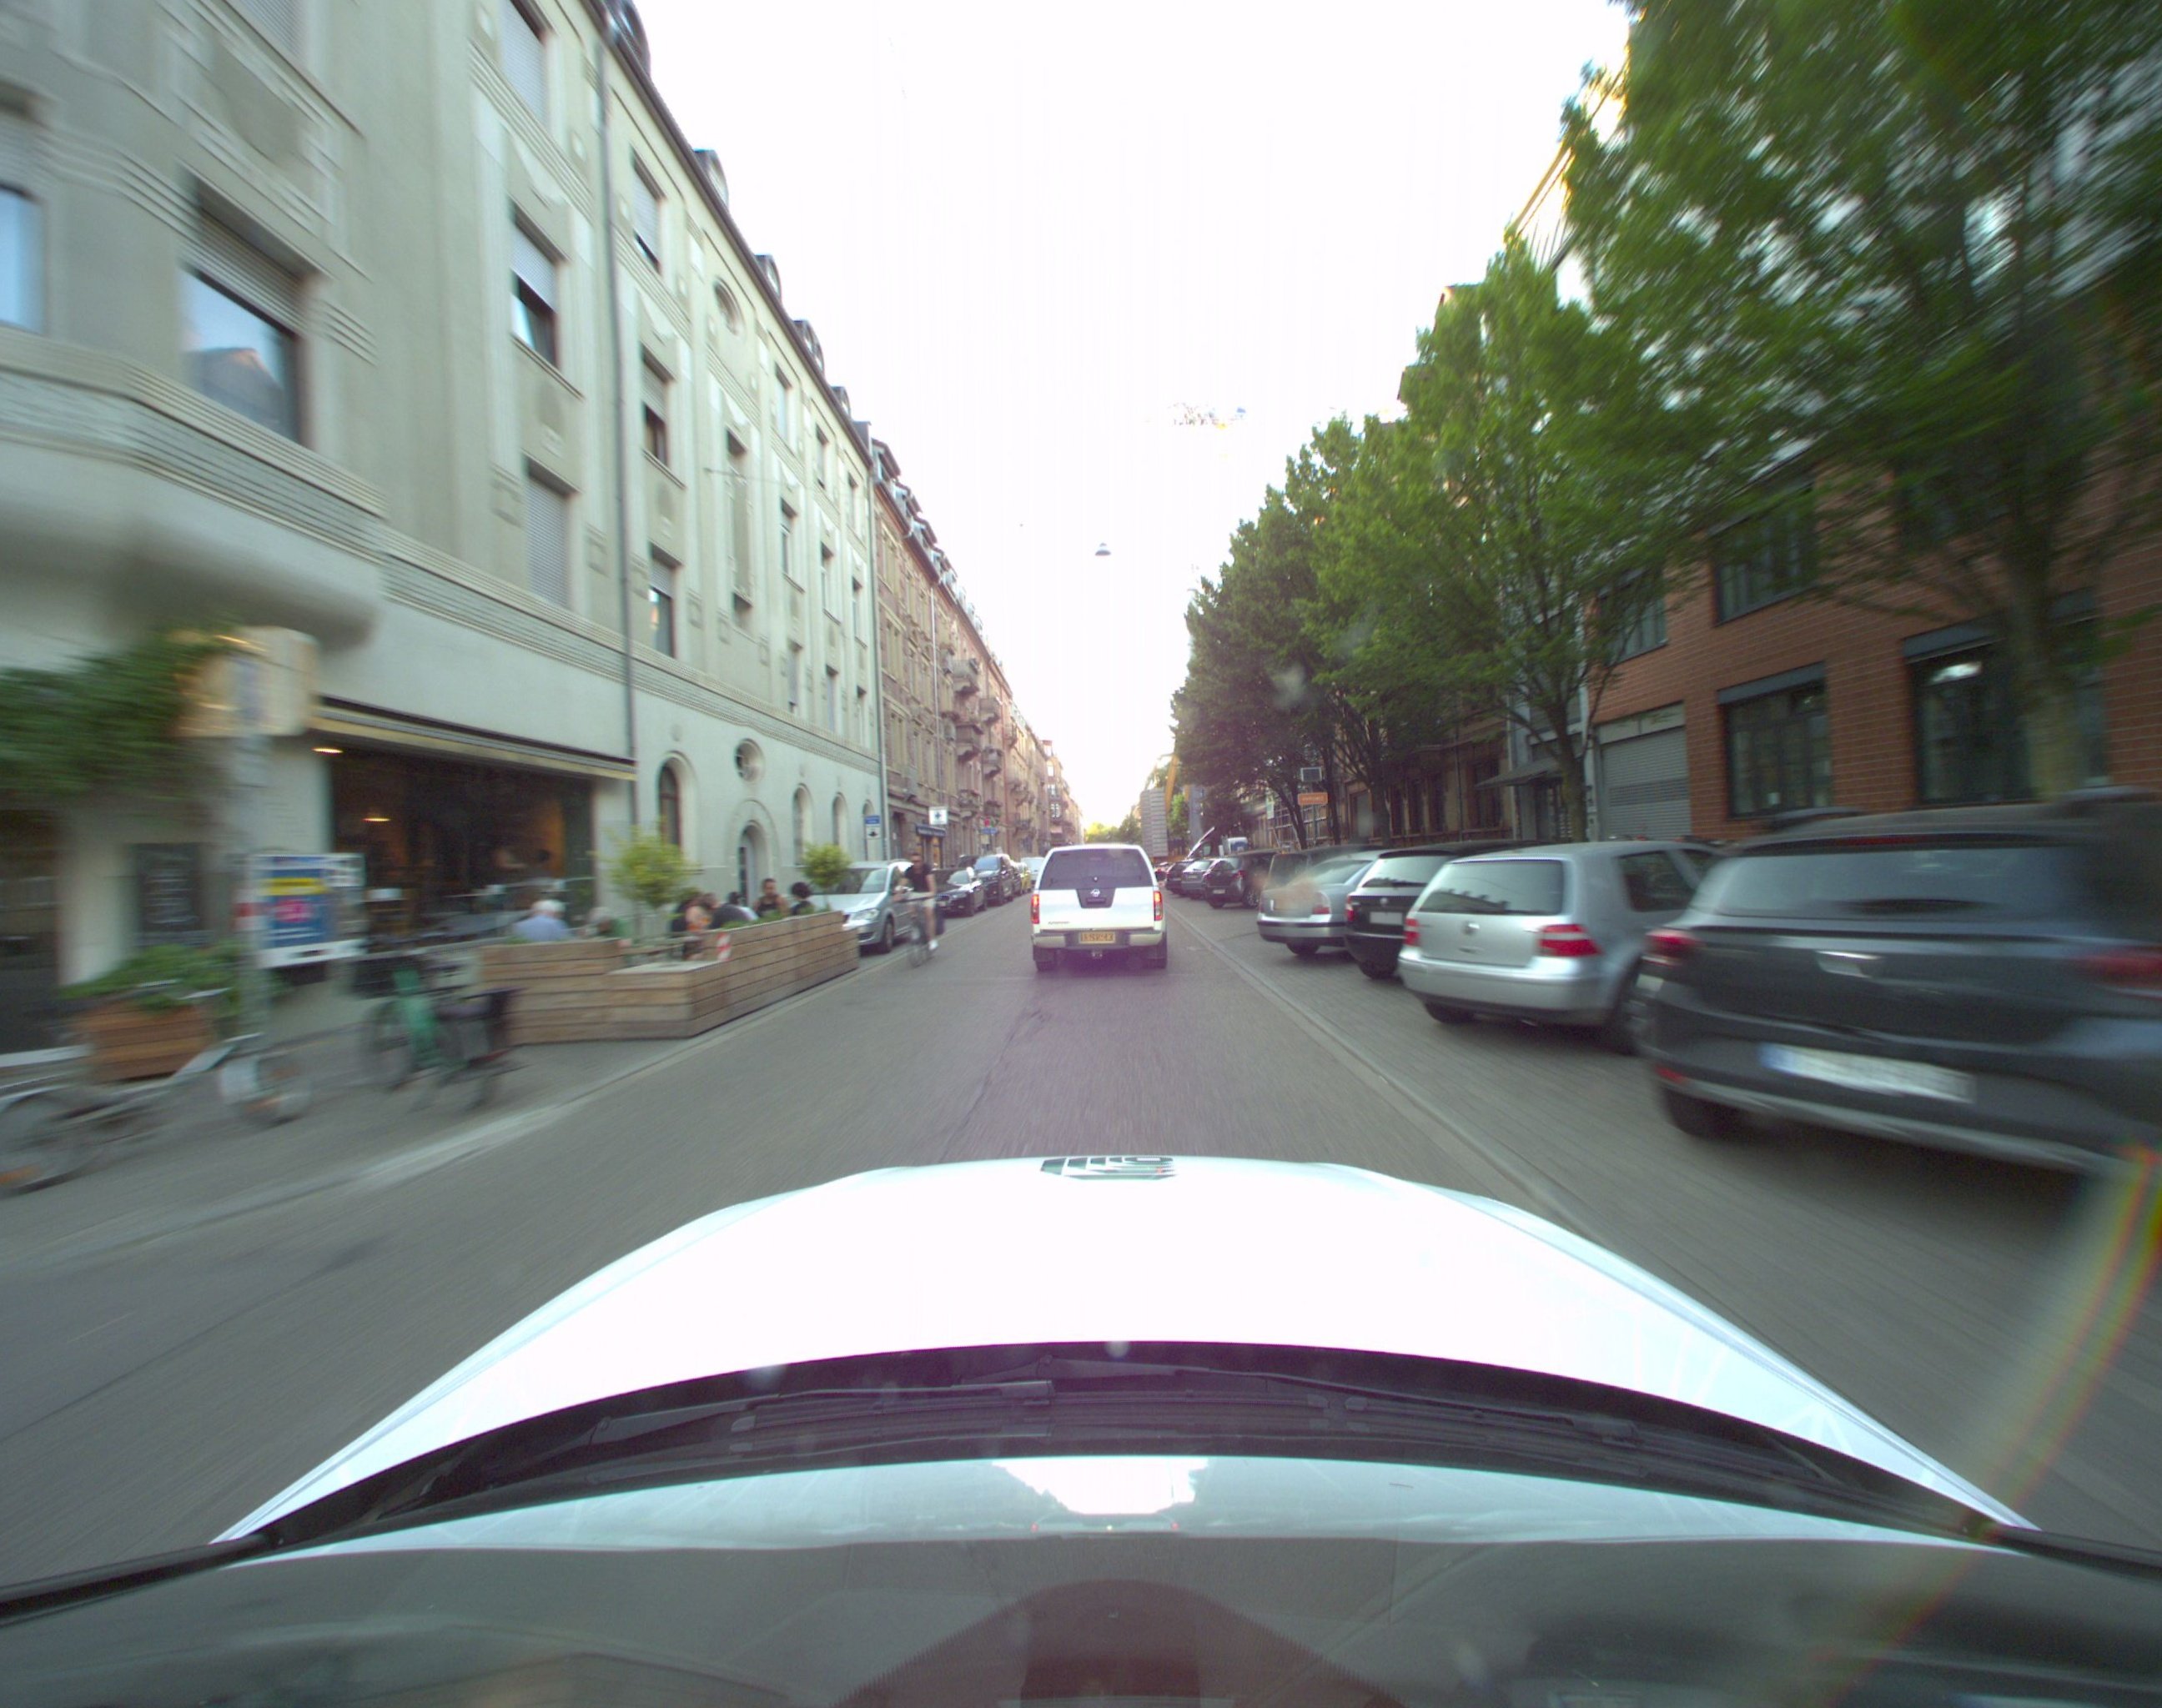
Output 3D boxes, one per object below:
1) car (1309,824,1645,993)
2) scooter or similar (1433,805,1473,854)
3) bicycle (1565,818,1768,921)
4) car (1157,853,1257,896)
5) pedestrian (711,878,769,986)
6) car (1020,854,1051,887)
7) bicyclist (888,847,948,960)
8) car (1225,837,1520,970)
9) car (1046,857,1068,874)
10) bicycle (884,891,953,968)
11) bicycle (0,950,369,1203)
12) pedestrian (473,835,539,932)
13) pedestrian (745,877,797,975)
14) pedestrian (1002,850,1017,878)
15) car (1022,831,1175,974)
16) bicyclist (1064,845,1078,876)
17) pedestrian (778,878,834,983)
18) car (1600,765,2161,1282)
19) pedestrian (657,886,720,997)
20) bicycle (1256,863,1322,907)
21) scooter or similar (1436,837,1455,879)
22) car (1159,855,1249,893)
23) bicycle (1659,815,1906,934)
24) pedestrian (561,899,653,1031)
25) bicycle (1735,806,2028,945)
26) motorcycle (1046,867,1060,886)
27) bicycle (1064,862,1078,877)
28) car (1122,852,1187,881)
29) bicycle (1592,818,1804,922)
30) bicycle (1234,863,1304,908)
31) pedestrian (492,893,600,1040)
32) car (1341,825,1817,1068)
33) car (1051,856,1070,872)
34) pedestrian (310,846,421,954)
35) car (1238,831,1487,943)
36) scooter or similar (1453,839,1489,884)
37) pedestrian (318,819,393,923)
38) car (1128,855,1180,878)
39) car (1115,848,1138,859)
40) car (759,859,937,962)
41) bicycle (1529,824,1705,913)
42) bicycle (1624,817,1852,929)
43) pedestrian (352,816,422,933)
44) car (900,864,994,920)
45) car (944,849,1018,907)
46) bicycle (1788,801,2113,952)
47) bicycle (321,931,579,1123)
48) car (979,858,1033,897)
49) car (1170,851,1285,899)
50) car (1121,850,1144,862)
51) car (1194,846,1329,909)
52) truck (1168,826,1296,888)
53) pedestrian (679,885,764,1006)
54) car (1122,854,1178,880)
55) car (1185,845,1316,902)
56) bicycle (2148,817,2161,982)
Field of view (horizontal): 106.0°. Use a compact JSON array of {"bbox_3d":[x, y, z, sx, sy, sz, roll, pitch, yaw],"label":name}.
[{"bbox_3d":[4.574,0.520,9.355,3.613,1.534,1.549,-3,-1,-27],"label":"car"},{"bbox_3d":[10.187,-0.642,22.353,0.464,1.217,1.782,-10,-2,13],"label":"scooter or similar"},{"bbox_3d":[9.100,0.242,12.723,2.524,1.244,0.600,-8,-1,3],"label":"bicycle"},{"bbox_3d":[4.991,0.774,32.103,3.912,1.530,1.619,-1,-1,-38],"label":"car"},{"bbox_3d":[-4.476,1.001,10.709,0.466,1.350,0.611,-2,-1,0],"label":"pedestrian"},{"bbox_3d":[-2.736,0.966,49.851,1.553,1.921,3.857,-1,-1,1],"label":"car"},{"bbox_3d":[-2.567,0.749,12.908,0.600,1.685,1.143,-3,-1,2],"label":"bicyclist"},{"bbox_3d":[4.415,0.626,12.108,4.404,1.534,1.788,-3,-1,-33],"label":"car"},{"bbox_3d":[-2.299,1.105,78.804,1.784,1.530,4.002,-2,0,2],"label":"car"},{"bbox_3d":[-2.549,1.157,12.967,0.612,1.040,1.904,-3,-1,2],"label":"bicycle"},{"bbox_3d":[-5.293,1.188,4.753,0.420,1.012,1.726,-2,1,15],"label":"bicycle"},{"bbox_3d":[-8.229,0.414,11.677,0.536,1.350,0.519,-2,-1,2],"label":"pedestrian"},{"bbox_3d":[-4.458,1.017,11.730,0.515,1.350,0.540,-2,-1,-1],"label":"pedestrian"},{"bbox_3d":[-4.750,0.659,53.948,0.610,1.869,0.744,-2,-1,24],"label":"pedestrian"},{"bbox_3d":[0.396,0.657,12.734,1.924,1.794,4.627,-1,-1,4],"label":"car"},{"bbox_3d":[-0.630,0.408,51.121,0.798,1.849,0.943,-2,-1,-1],"label":"bicyclist"},{"bbox_3d":[-3.710,1.013,11.022,0.482,1.350,0.669,-2,-1,0],"label":"pedestrian"},{"bbox_3d":[4.453,0.473,4.044,3.618,1.580,1.699,-3,-1,-32],"label":"car"},{"bbox_3d":[-5.052,1.104,10.507,0.466,1.350,0.611,-2,-1,0],"label":"pedestrian"},{"bbox_3d":[5.462,0.828,21.530,0.560,1.107,1.841,-2,-2,-27],"label":"bicycle"},{"bbox_3d":[11.108,0.105,24.787,0.365,1.218,1.714,-6,-2,25],"label":"scooter or similar"},{"bbox_3d":[5.269,0.855,34.953,3.570,1.464,1.596,-2,-1,-30],"label":"car"},{"bbox_3d":[9.035,0.264,10.561,2.523,1.379,0.600,-3,-1,4],"label":"bicycle"},{"bbox_3d":[-5.145,1.180,8.881,0.535,1.324,0.705,-2,-1,2],"label":"pedestrian"},{"bbox_3d":[8.904,0.240,9.130,2.523,1.379,0.600,-3,-1,4],"label":"bicycle"},{"bbox_3d":[-2.257,1.759,65.089,0.833,1.416,2.550,-2,-1,3],"label":"motorcycle"},{"bbox_3d":[-0.612,0.963,51.077,0.798,0.947,2.004,-2,-1,0],"label":"bicycle"},{"bbox_3d":[4.929,0.825,54.124,4.172,1.780,1.823,-2,-1,7],"label":"car"},{"bbox_3d":[9.032,0.235,11.988,2.523,1.379,0.600,-3,-1,4],"label":"bicycle"},{"bbox_3d":[4.870,0.833,21.219,0.696,1.107,1.841,-2,-2,-27],"label":"bicycle"},{"bbox_3d":[-5.190,1.061,7.939,0.535,1.324,0.705,-2,-1,2],"label":"pedestrian"},{"bbox_3d":[4.200,0.594,6.863,3.613,1.482,1.708,-3,-1,-26],"label":"car"},{"bbox_3d":[-2.127,1.023,85.237,1.703,1.530,4.001,-2,0,2],"label":"car"},{"bbox_3d":[-8.079,0.500,9.222,0.555,1.154,0.748,-2,-1,1],"label":"pedestrian"},{"bbox_3d":[5.108,0.551,14.878,3.998,1.636,1.748,-4,0,-18],"label":"car"},{"bbox_3d":[11.298,0.206,23.631,0.409,1.218,1.782,-8,-2,13],"label":"scooter or similar"},{"bbox_3d":[-10.010,0.232,11.247,0.536,1.383,0.518,-2,-1,1],"label":"pedestrian"},{"bbox_3d":[6.034,1.015,67.554,4.176,1.780,1.822,-2,-1,4],"label":"car"},{"bbox_3d":[9.089,-0.094,162.215,4.567,2.177,1.822,-2,-1,4],"label":"car"},{"bbox_3d":[-4.195,0.941,15.507,1.986,1.591,4.315,-3,-1,1],"label":"car"},{"bbox_3d":[9.241,0.254,14.096,2.523,1.379,0.600,-3,-1,4],"label":"bicycle"},{"bbox_3d":[9.040,0.264,11.275,2.523,1.379,0.600,-3,-1,4],"label":"bicycle"},{"bbox_3d":[-10.074,0.291,11.831,0.536,1.654,0.518,-2,-1,1],"label":"pedestrian"},{"bbox_3d":[-3.931,1.063,24.672,1.904,1.472,4.535,-2,-1,2],"label":"car"},{"bbox_3d":[-3.615,0.848,30.394,1.897,1.926,4.949,-2,0,2],"label":"car"},{"bbox_3d":[8.906,0.233,8.416,2.523,1.379,0.600,-3,-1,4],"label":"bicycle"},{"bbox_3d":[-4.421,1.123,5.659,2.090,1.095,0.504,-2,1,26],"label":"bicycle"},{"bbox_3d":[-3.515,1.059,38.829,1.897,1.663,4.071,-3,-1,3],"label":"car"},{"bbox_3d":[5.294,0.736,29.314,3.852,1.436,1.744,-4,0,-33],"label":"car"},{"bbox_3d":[10.546,0.375,165.927,4.567,2.177,1.822,-2,-1,4],"label":"car"},{"bbox_3d":[5.203,0.639,23.439,3.418,1.474,1.758,-4,1,-30],"label":"car"},{"bbox_3d":[7.882,0.183,43.077,6.294,2.977,2.265,-2,-3,3],"label":"truck"},{"bbox_3d":[-4.212,1.051,9.583,0.607,1.324,0.770,-2,-1,0],"label":"pedestrian"},{"bbox_3d":[5.056,0.950,60.359,3.973,1.647,2.000,-3,-1,1],"label":"car"},{"bbox_3d":[5.569,0.626,26.715,3.843,1.530,1.748,-4,-1,-24],"label":"car"},{"bbox_3d":[8.835,0.258,5.410,2.523,1.166,0.562,-3,-1,4],"label":"bicycle"}]
